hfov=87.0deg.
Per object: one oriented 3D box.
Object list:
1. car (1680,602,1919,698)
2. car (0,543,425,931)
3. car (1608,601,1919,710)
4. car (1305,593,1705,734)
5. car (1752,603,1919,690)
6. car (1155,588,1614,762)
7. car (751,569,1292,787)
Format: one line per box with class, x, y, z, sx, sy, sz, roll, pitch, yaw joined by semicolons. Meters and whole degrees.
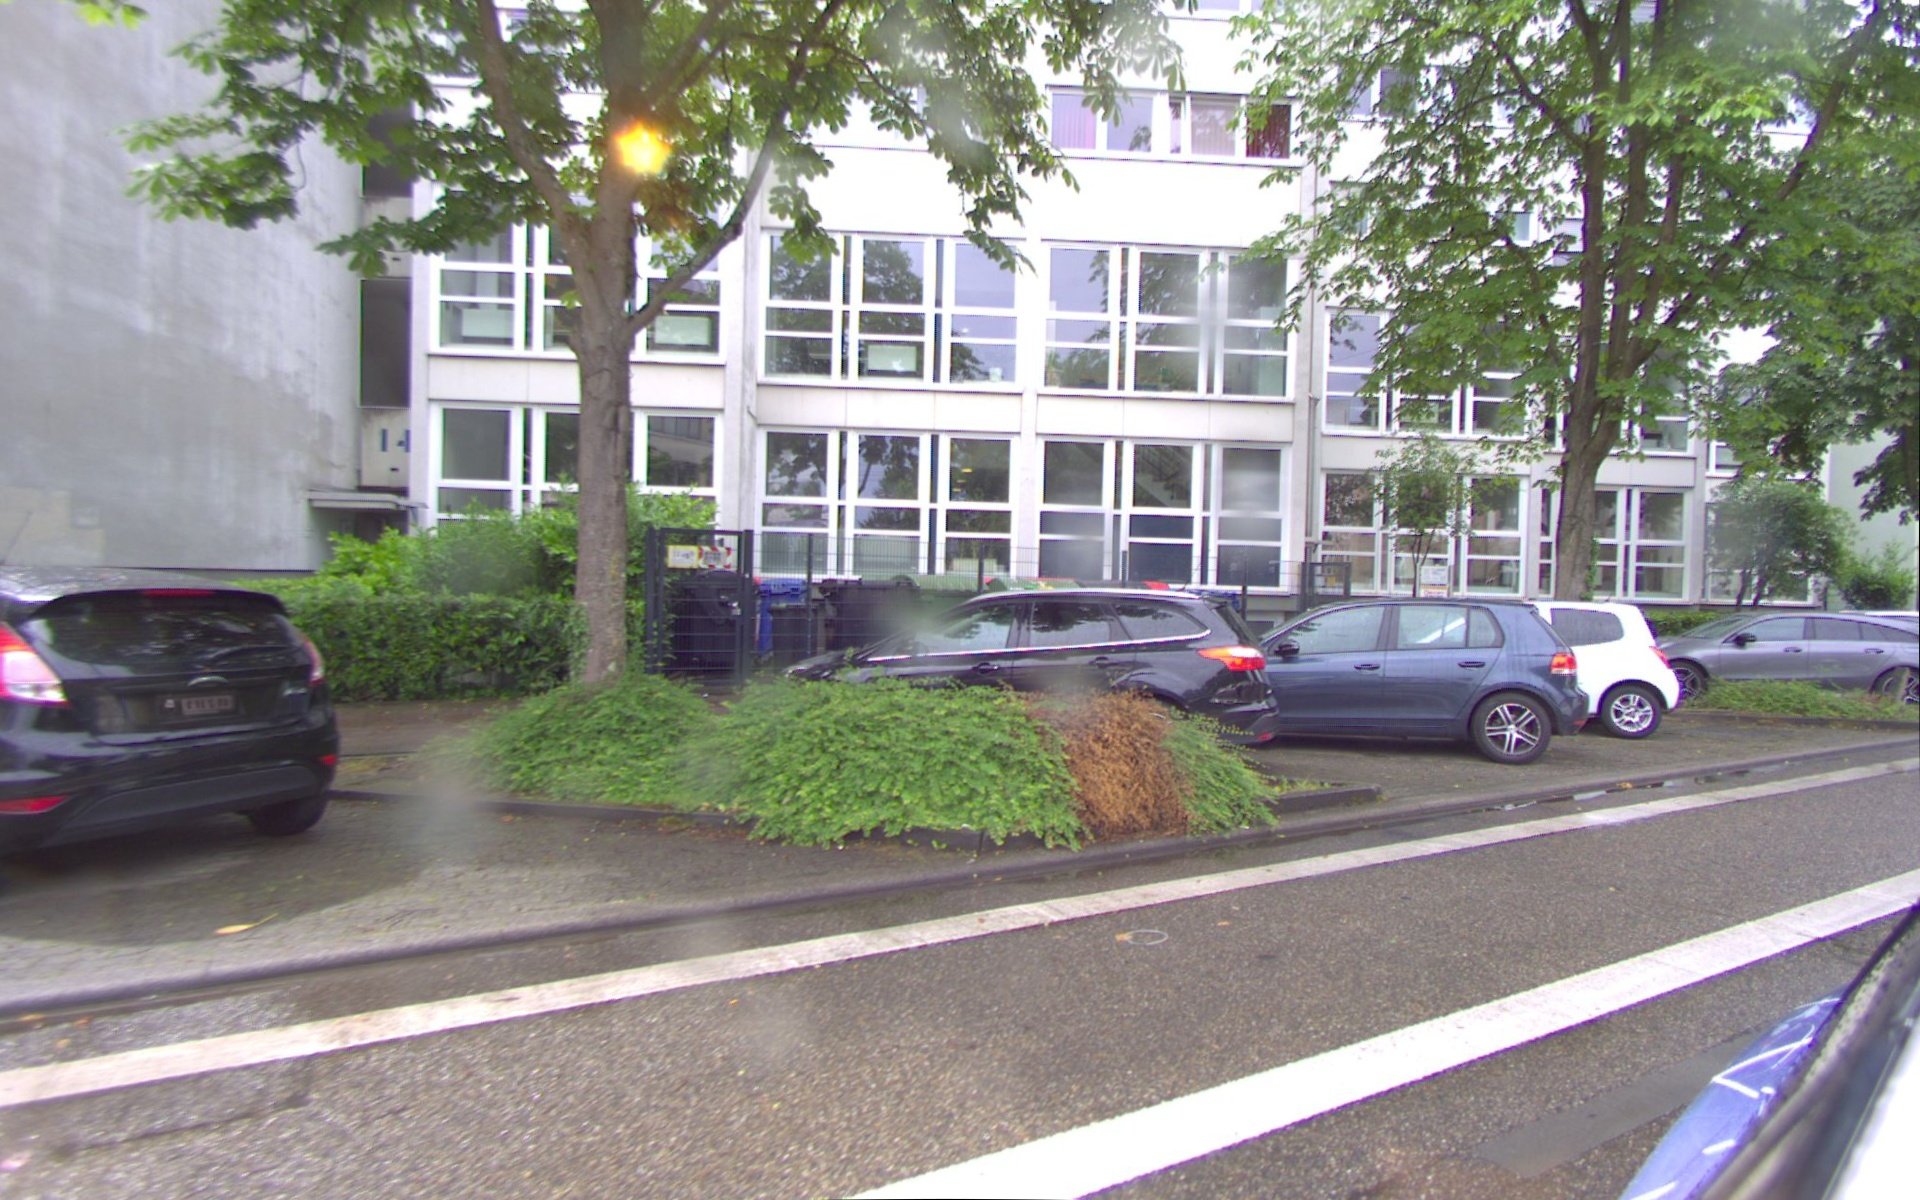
car;14.800;0.777;16.715;4.334;1.471;1.875;0;0;17
car;-5.101;0.494;5.536;3.934;1.499;1.802;1;1;23
car;12.356;0.769;15.107;4.149;1.471;1.804;0;0;17
car;6.166;0.669;11.965;3.827;1.472;1.769;0;0;16
car;17.399;0.813;18.377;4.312;1.471;1.896;0;0;17
car;3.930;0.641;9.986;3.827;1.472;1.813;0;0;16
car;0.560;0.576;8.817;4.308;1.575;1.869;0;-1;15
